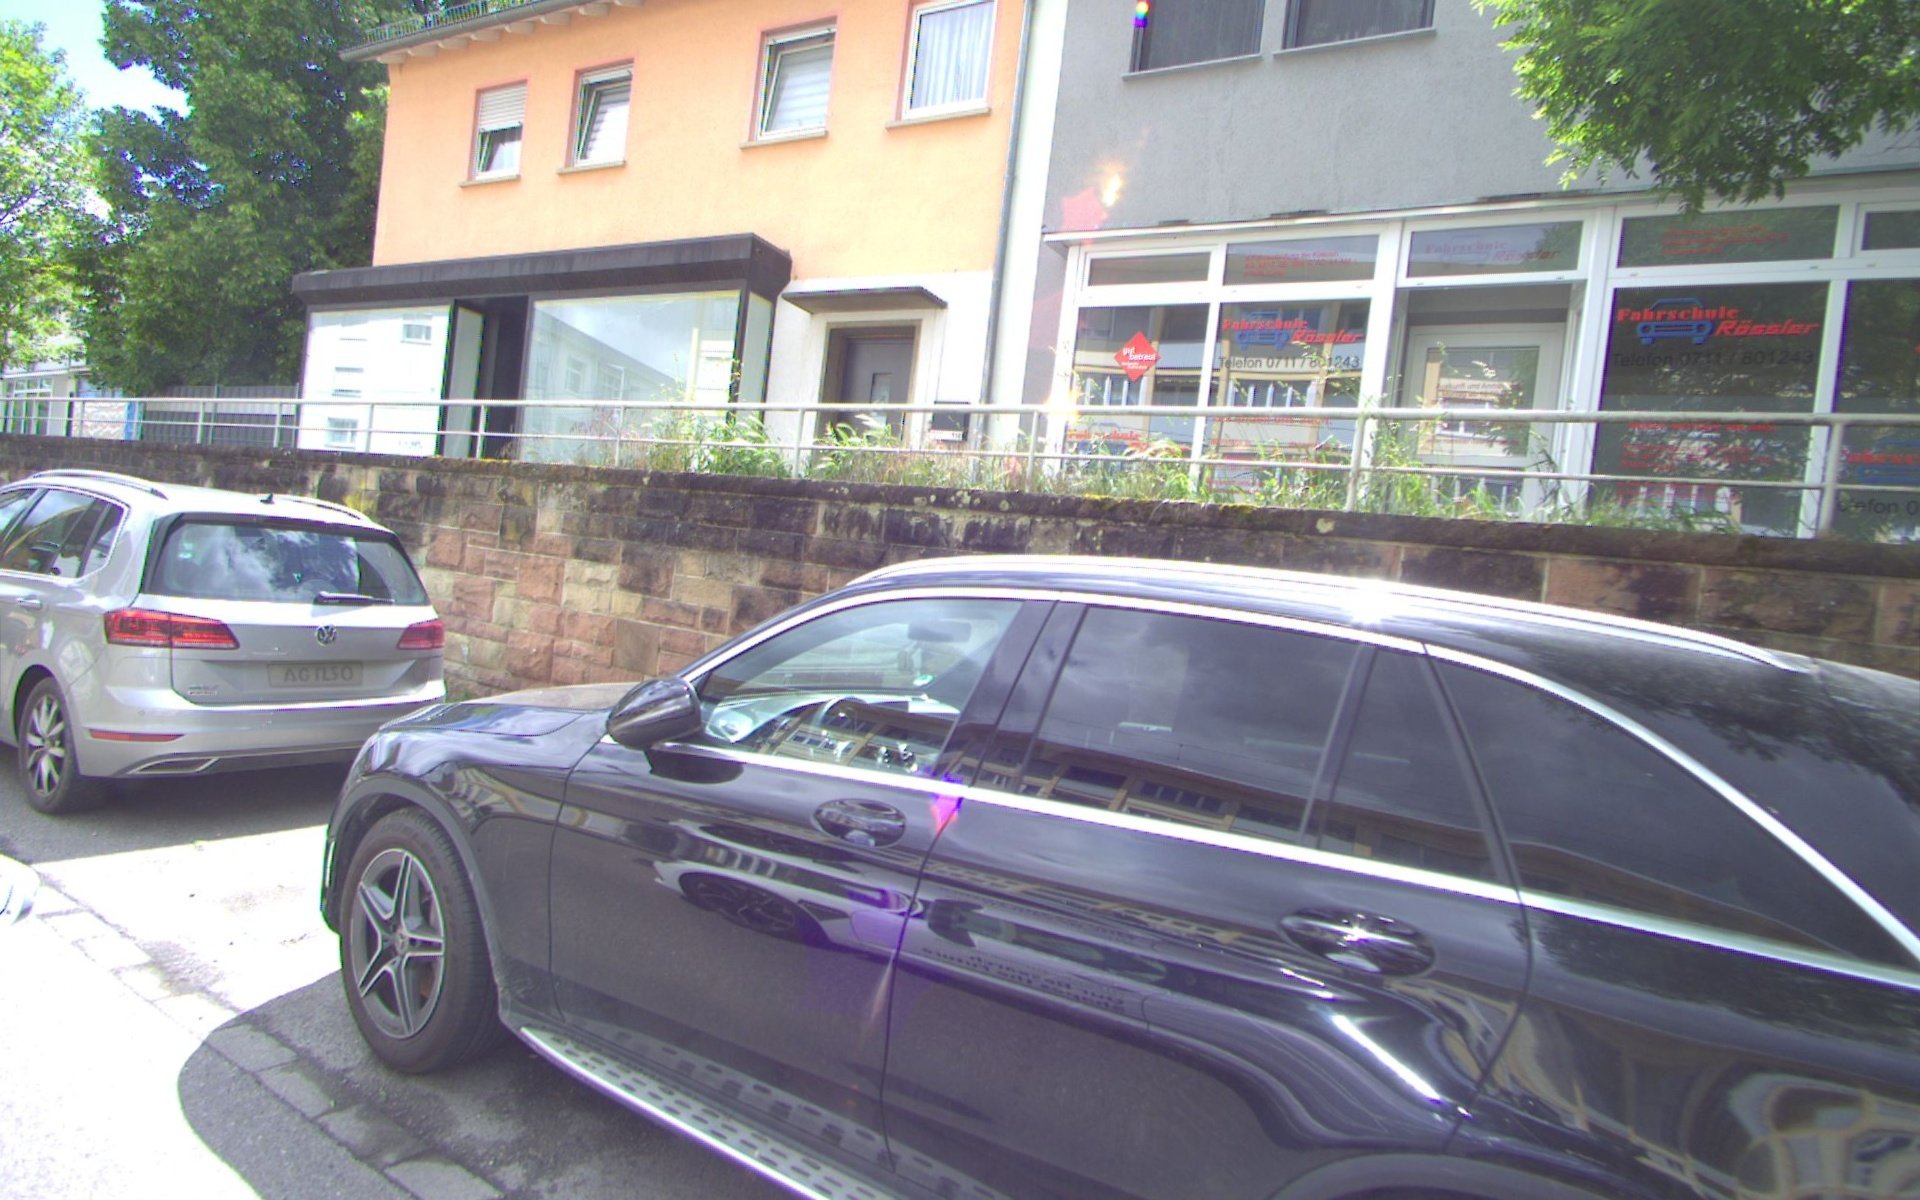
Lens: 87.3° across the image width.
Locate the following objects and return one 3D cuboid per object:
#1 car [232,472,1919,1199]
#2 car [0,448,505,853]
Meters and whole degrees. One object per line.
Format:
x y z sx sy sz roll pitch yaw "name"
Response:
0.087 0.684 2.794 4.373 1.639 1.791 7 2 31 "car"
-4.871 0.055 5.981 4.177 1.638 1.791 7 1 31 "car"
